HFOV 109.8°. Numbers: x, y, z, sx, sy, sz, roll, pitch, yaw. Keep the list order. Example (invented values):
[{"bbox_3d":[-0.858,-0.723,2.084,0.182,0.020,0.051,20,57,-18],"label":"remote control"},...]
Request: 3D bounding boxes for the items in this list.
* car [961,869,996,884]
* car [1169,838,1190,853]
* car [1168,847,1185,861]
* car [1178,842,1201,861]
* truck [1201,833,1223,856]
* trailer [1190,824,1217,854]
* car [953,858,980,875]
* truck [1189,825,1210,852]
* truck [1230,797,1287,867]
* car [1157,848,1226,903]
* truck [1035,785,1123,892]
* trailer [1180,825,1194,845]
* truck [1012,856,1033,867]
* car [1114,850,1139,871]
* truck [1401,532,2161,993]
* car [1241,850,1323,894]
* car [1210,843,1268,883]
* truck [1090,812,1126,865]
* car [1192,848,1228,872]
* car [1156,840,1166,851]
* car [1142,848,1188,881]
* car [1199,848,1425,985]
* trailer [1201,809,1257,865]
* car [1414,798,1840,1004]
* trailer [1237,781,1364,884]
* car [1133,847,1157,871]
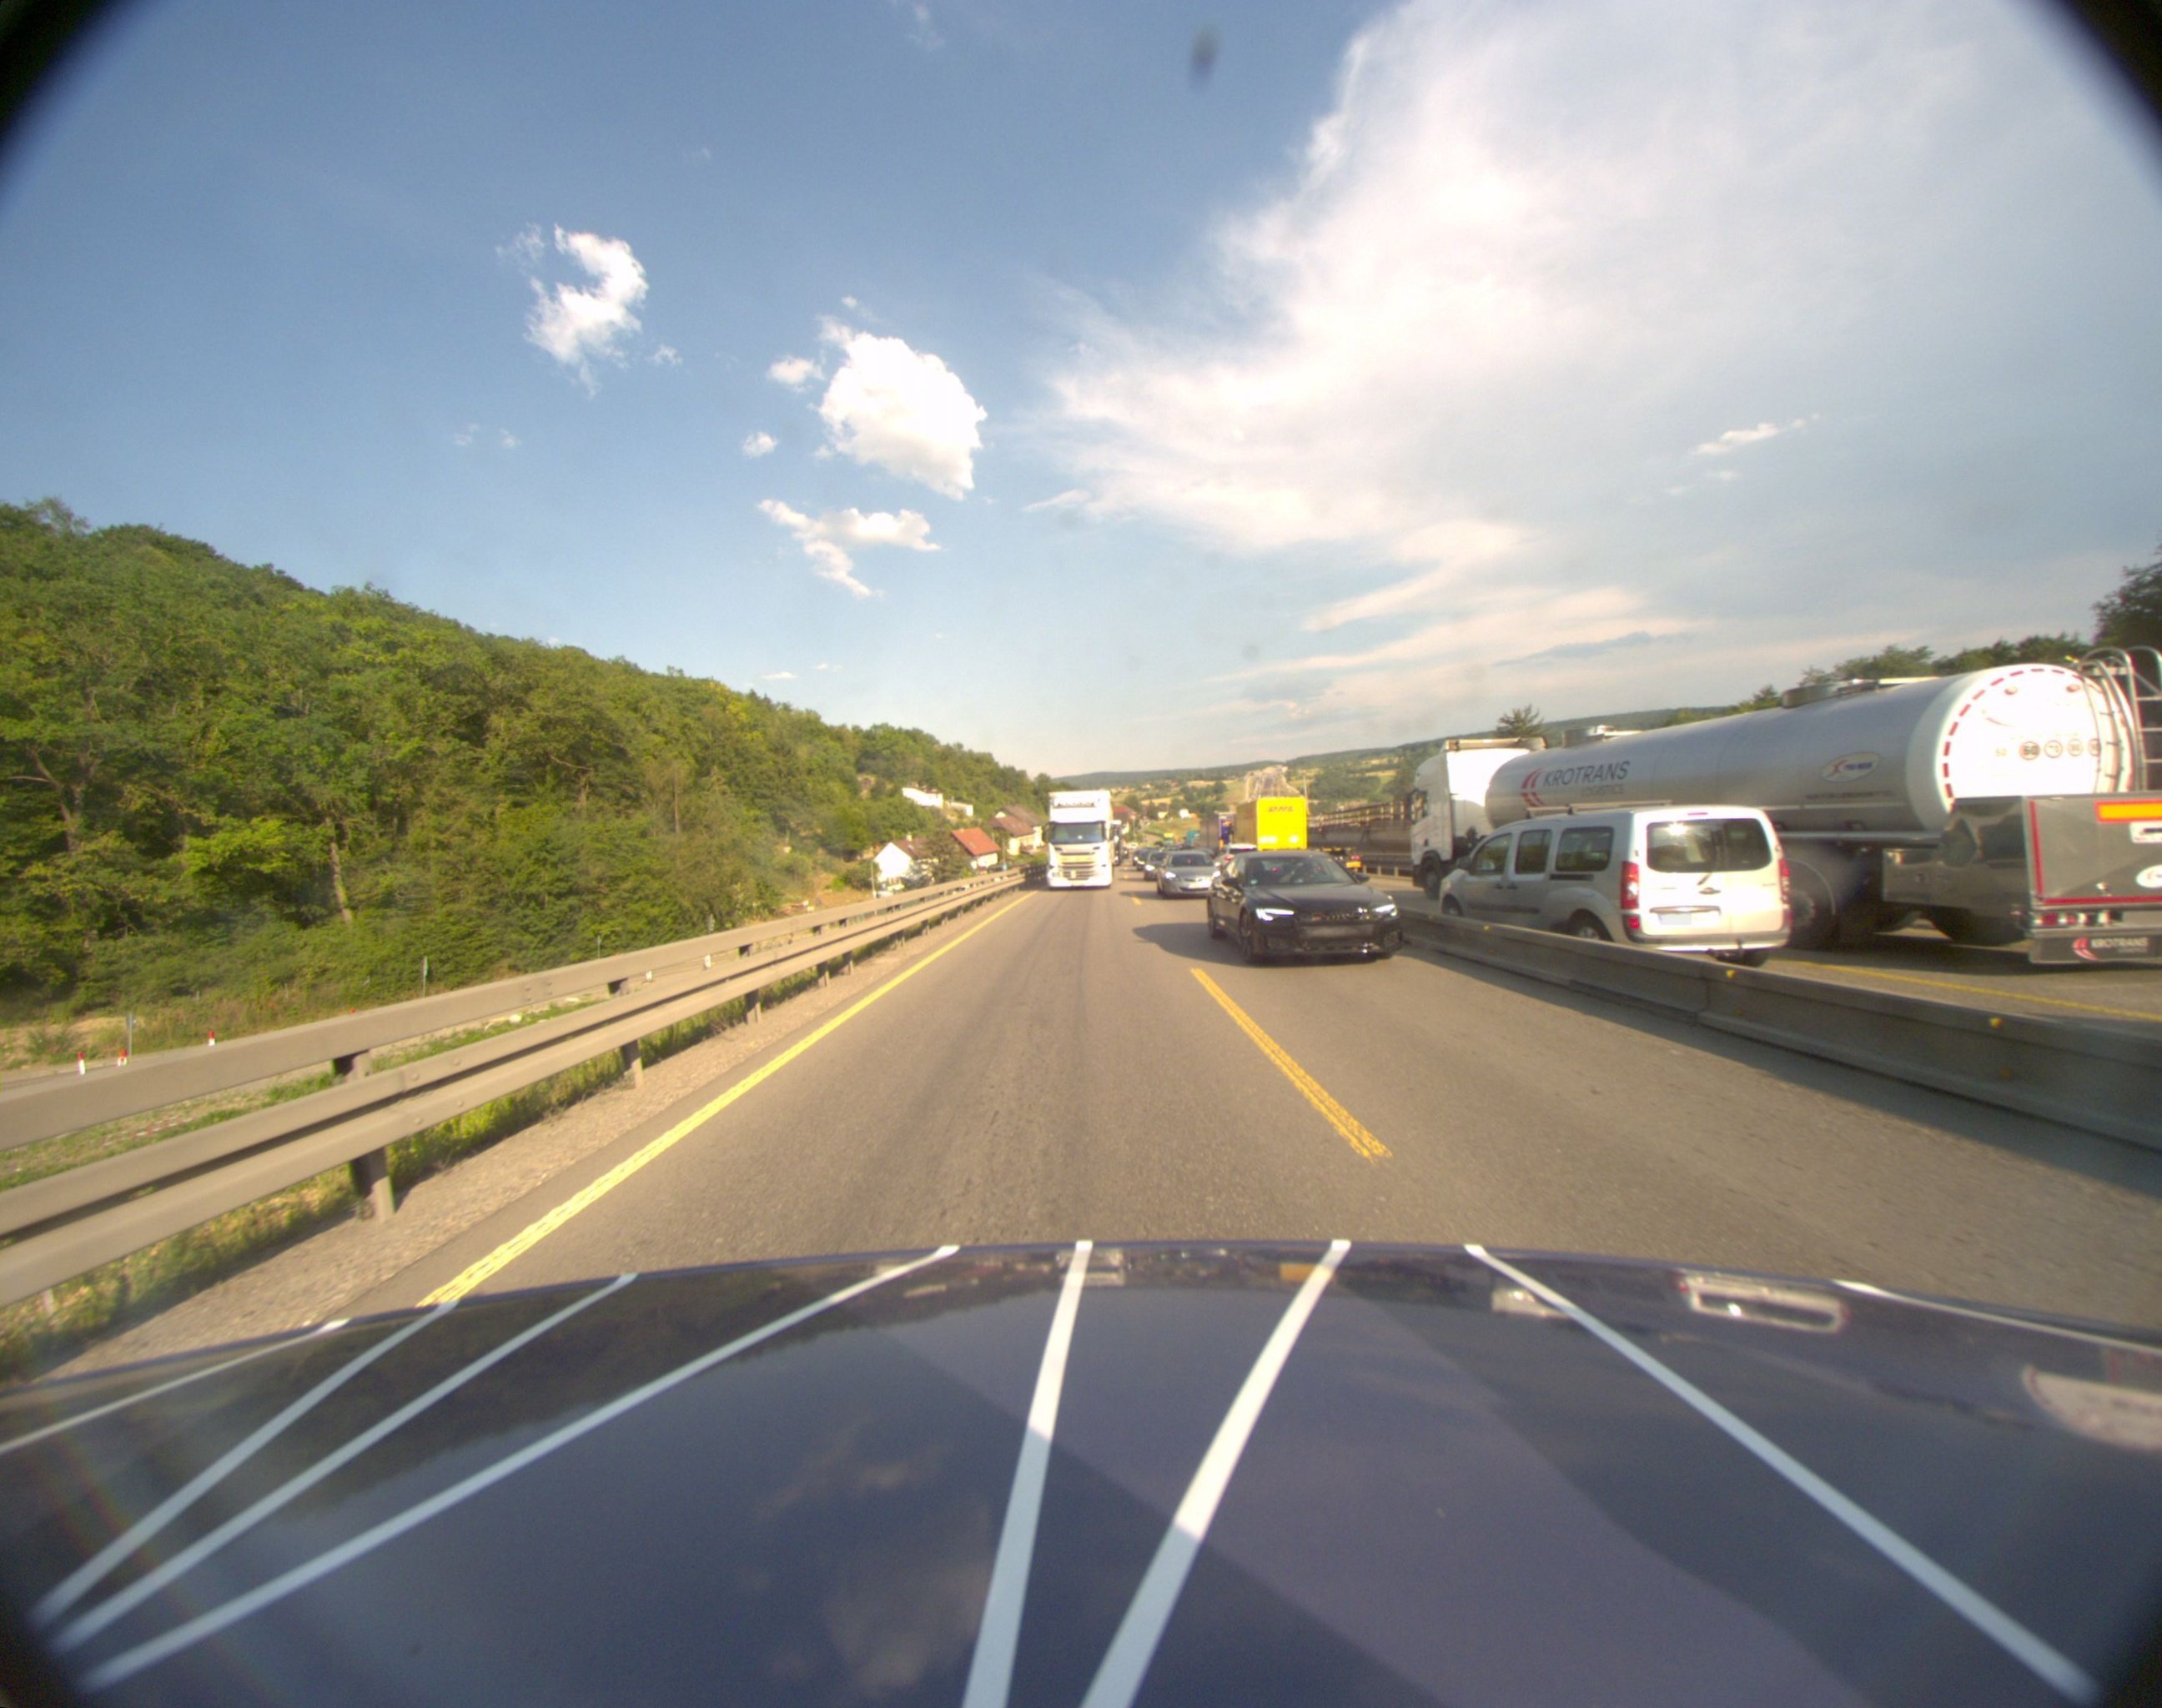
[{"bbox_3d":[-17.442,3.777,129.013,5.474,2.252,2.001,-2,3,14],"label":"car"},{"bbox_3d":[10.427,-0.911,80.736,1.801,1.445,4.615,-1,2,3],"label":"car"},{"bbox_3d":[11.910,-0.003,94.910,1.792,1.489,4.724,-1,2,4],"label":"car"},{"bbox_3d":[9.883,-0.246,69.311,1.720,1.499,4.291,-1,2,4],"label":"car"},{"bbox_3d":[24.002,-1.863,139.972,3.165,4.099,12.495,0,1,6],"label":"truck"},{"bbox_3d":[16.719,-2.096,104.678,2.754,3.794,16.050,0,1,6],"label":"trailer"},{"bbox_3d":[-16.220,1.807,107.577,1.865,1.975,5.054,-1,4,15],"label":"car"},{"bbox_3d":[17.498,-2.288,112.526,2.754,3.784,7.113,0,1,6],"label":"truck"},{"bbox_3d":[11.091,-1.386,47.725,2.700,4.174,4.397,-1,2,3],"label":"truck"},{"bbox_3d":[3.385,0.603,23.947,1.809,1.478,4.119,-1,1,4],"label":"car"},{"bbox_3d":[0.301,-0.810,36.151,2.891,4.060,13.894,-1,2,5],"label":"truck"},{"bbox_3d":[24.643,-4.447,176.253,2.917,4.440,7.154,-2,2,8],"label":"trailer"},{"bbox_3d":[-10.874,1.401,141.159,2.002,1.729,3.990,-11,5,-35],"label":"truck"},{"bbox_3d":[3.731,0.507,62.549,1.998,1.565,4.000,-1,2,3],"label":"car"},{"bbox_3d":[9.981,-0.874,13.500,2.816,3.947,13.892,-2,1,1],"label":"truck"},{"bbox_3d":[6.575,0.529,25.293,1.715,1.245,4.050,-1,2,1],"label":"car"},{"bbox_3d":[7.096,0.335,34.603,1.850,1.638,4.559,-1,2,2],"label":"car"},{"bbox_3d":[2.541,-1.348,70.017,2.787,4.505,7.191,-3,0,4],"label":"truck"},{"bbox_3d":[8.544,0.362,50.595,1.743,1.394,4.902,-1,2,3],"label":"car"},{"bbox_3d":[14.826,-1.608,140.542,1.827,1.923,5.131,1,2,6],"label":"car"},{"bbox_3d":[4.016,0.454,37.005,1.823,1.433,4.000,-3,1,1],"label":"car"},{"bbox_3d":[3.038,0.700,11.304,1.945,1.472,5.221,-1,2,2],"label":"car"},{"bbox_3d":[12.434,-1.525,65.300,2.720,4.111,16.751,-1,2,4],"label":"trailer"},{"bbox_3d":[6.255,0.434,9.637,1.838,1.906,4.864,-2,0,-1],"label":"car"},{"bbox_3d":[10.675,-1.121,39.220,2.707,4.180,15.995,-1,2,3],"label":"trailer"},{"bbox_3d":[5.559,0.409,66.773,1.998,2.002,4.000,-1,2,3],"label":"car"}]
